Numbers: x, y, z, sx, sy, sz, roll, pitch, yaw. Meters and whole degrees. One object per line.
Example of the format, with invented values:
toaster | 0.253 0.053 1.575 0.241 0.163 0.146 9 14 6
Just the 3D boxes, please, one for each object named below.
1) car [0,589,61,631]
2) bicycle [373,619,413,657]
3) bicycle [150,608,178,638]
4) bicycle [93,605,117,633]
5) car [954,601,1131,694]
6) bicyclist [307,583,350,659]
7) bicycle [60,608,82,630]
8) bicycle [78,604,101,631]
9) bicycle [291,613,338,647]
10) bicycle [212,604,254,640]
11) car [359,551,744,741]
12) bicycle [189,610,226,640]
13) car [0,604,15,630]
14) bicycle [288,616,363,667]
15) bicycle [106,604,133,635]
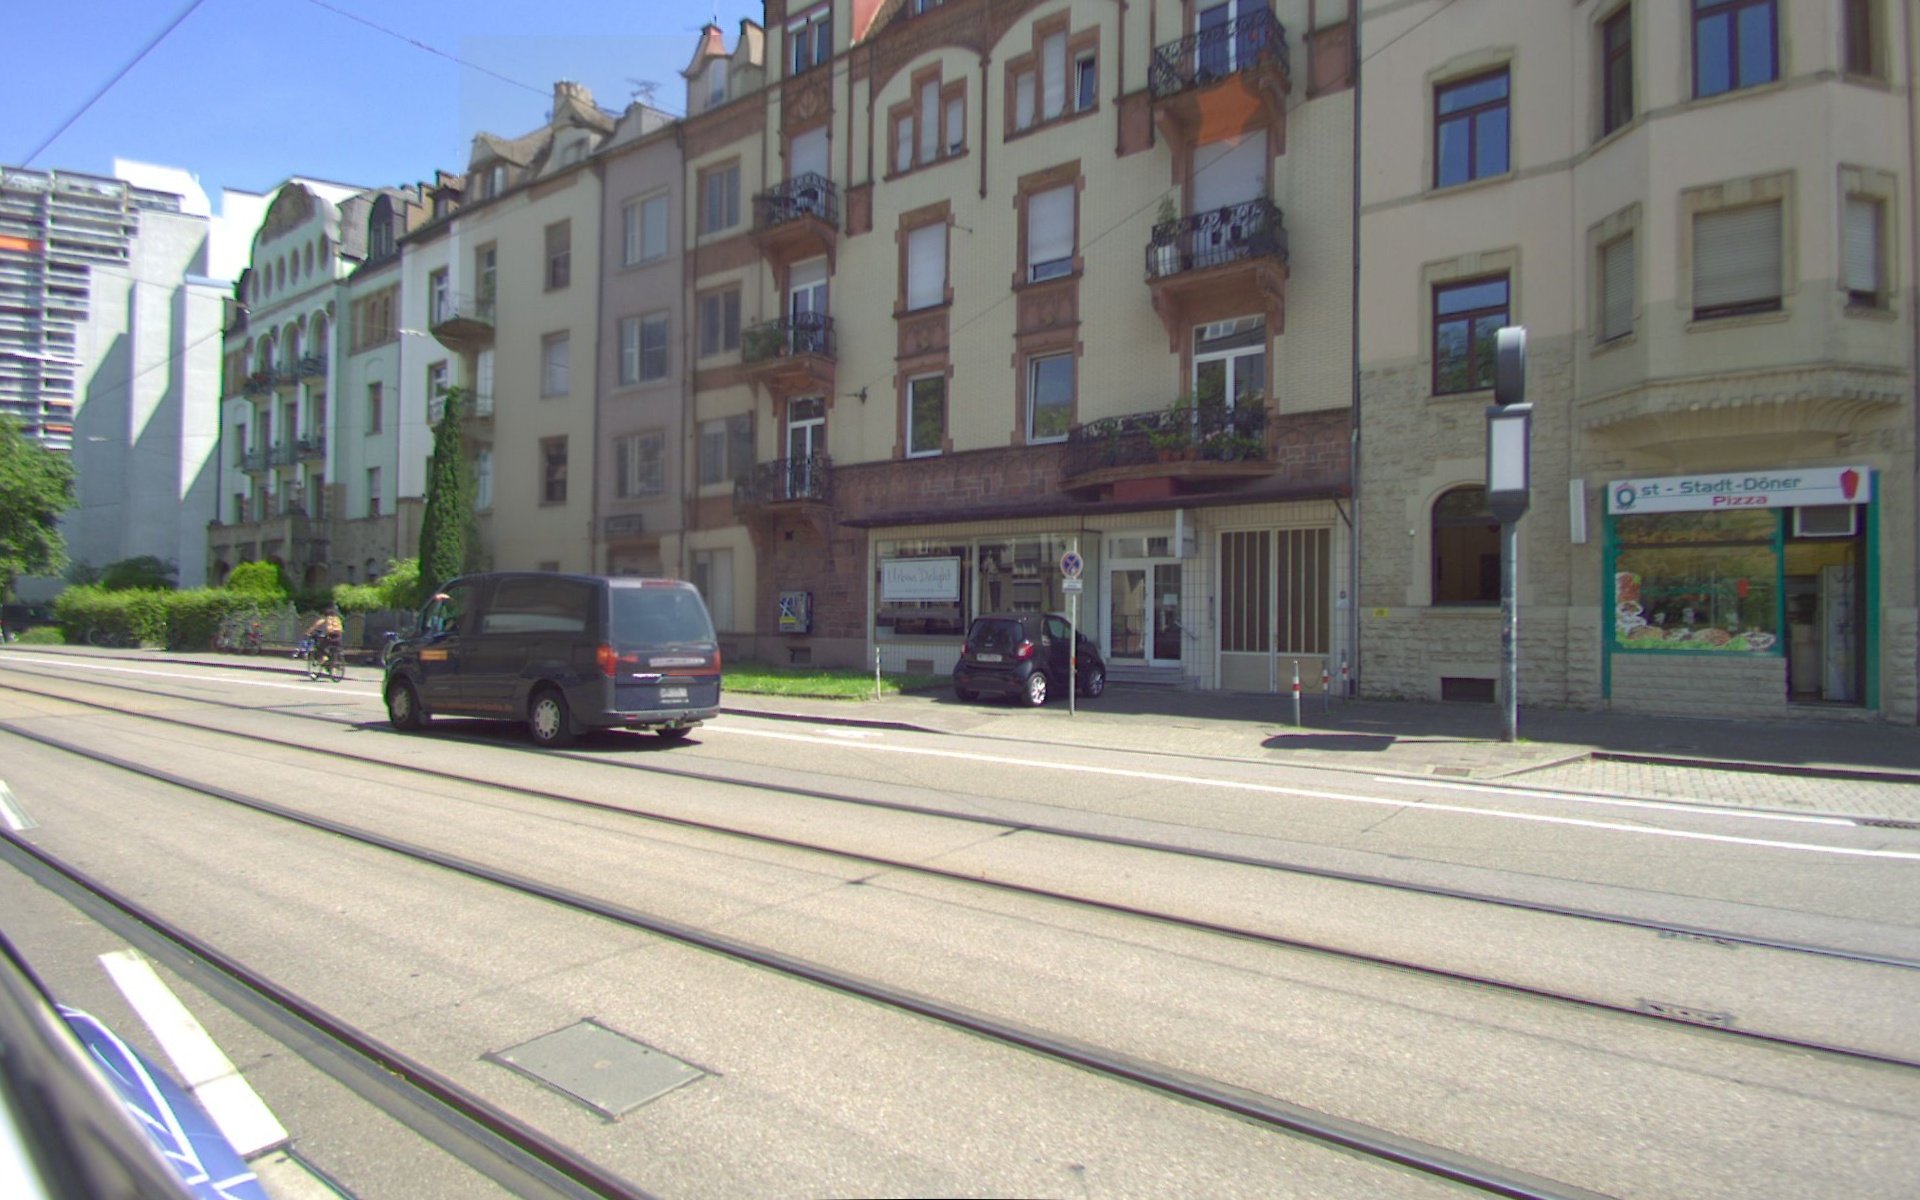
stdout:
car | -46.669 0.461 49.610 1.885 1.984 3.911 1 0 -4
bicycle | -14.653 0.969 26.137 1.611 0.924 0.250 0 -1 36
bicycle | -29.198 0.831 37.104 1.896 1.054 0.286 1 0 36
bicycle | -34.799 0.766 41.161 1.725 1.076 0.336 1 0 36
car | 1.534 0.764 18.021 1.528 1.483 3.320 0 0 40
bicyclist | -14.162 0.474 22.698 0.578 1.676 0.604 0 -2 36
bicycle | -38.987 0.810 44.376 1.725 0.948 0.336 0 1 36
bicycle | -36.389 0.737 42.315 1.725 1.076 0.336 1 0 36
bicycle | -18.451 0.846 28.928 1.950 0.955 0.457 0 -1 36
bicycle | -23.419 0.692 32.578 2.043 1.105 0.488 0 -1 36
car | -5.116 0.476 12.461 4.806 1.952 1.830 1 -2 31
bicycle | -25.176 0.815 33.842 2.043 0.978 0.396 0 -1 36
car | -58.368 1.012 60.159 1.613 1.561 3.818 1 -1 -15
bicycle | -14.255 0.910 22.726 2.182 1.082 0.638 0 -2 36
bicycle | -33.210 0.744 39.985 1.929 1.173 0.336 1 0 36
